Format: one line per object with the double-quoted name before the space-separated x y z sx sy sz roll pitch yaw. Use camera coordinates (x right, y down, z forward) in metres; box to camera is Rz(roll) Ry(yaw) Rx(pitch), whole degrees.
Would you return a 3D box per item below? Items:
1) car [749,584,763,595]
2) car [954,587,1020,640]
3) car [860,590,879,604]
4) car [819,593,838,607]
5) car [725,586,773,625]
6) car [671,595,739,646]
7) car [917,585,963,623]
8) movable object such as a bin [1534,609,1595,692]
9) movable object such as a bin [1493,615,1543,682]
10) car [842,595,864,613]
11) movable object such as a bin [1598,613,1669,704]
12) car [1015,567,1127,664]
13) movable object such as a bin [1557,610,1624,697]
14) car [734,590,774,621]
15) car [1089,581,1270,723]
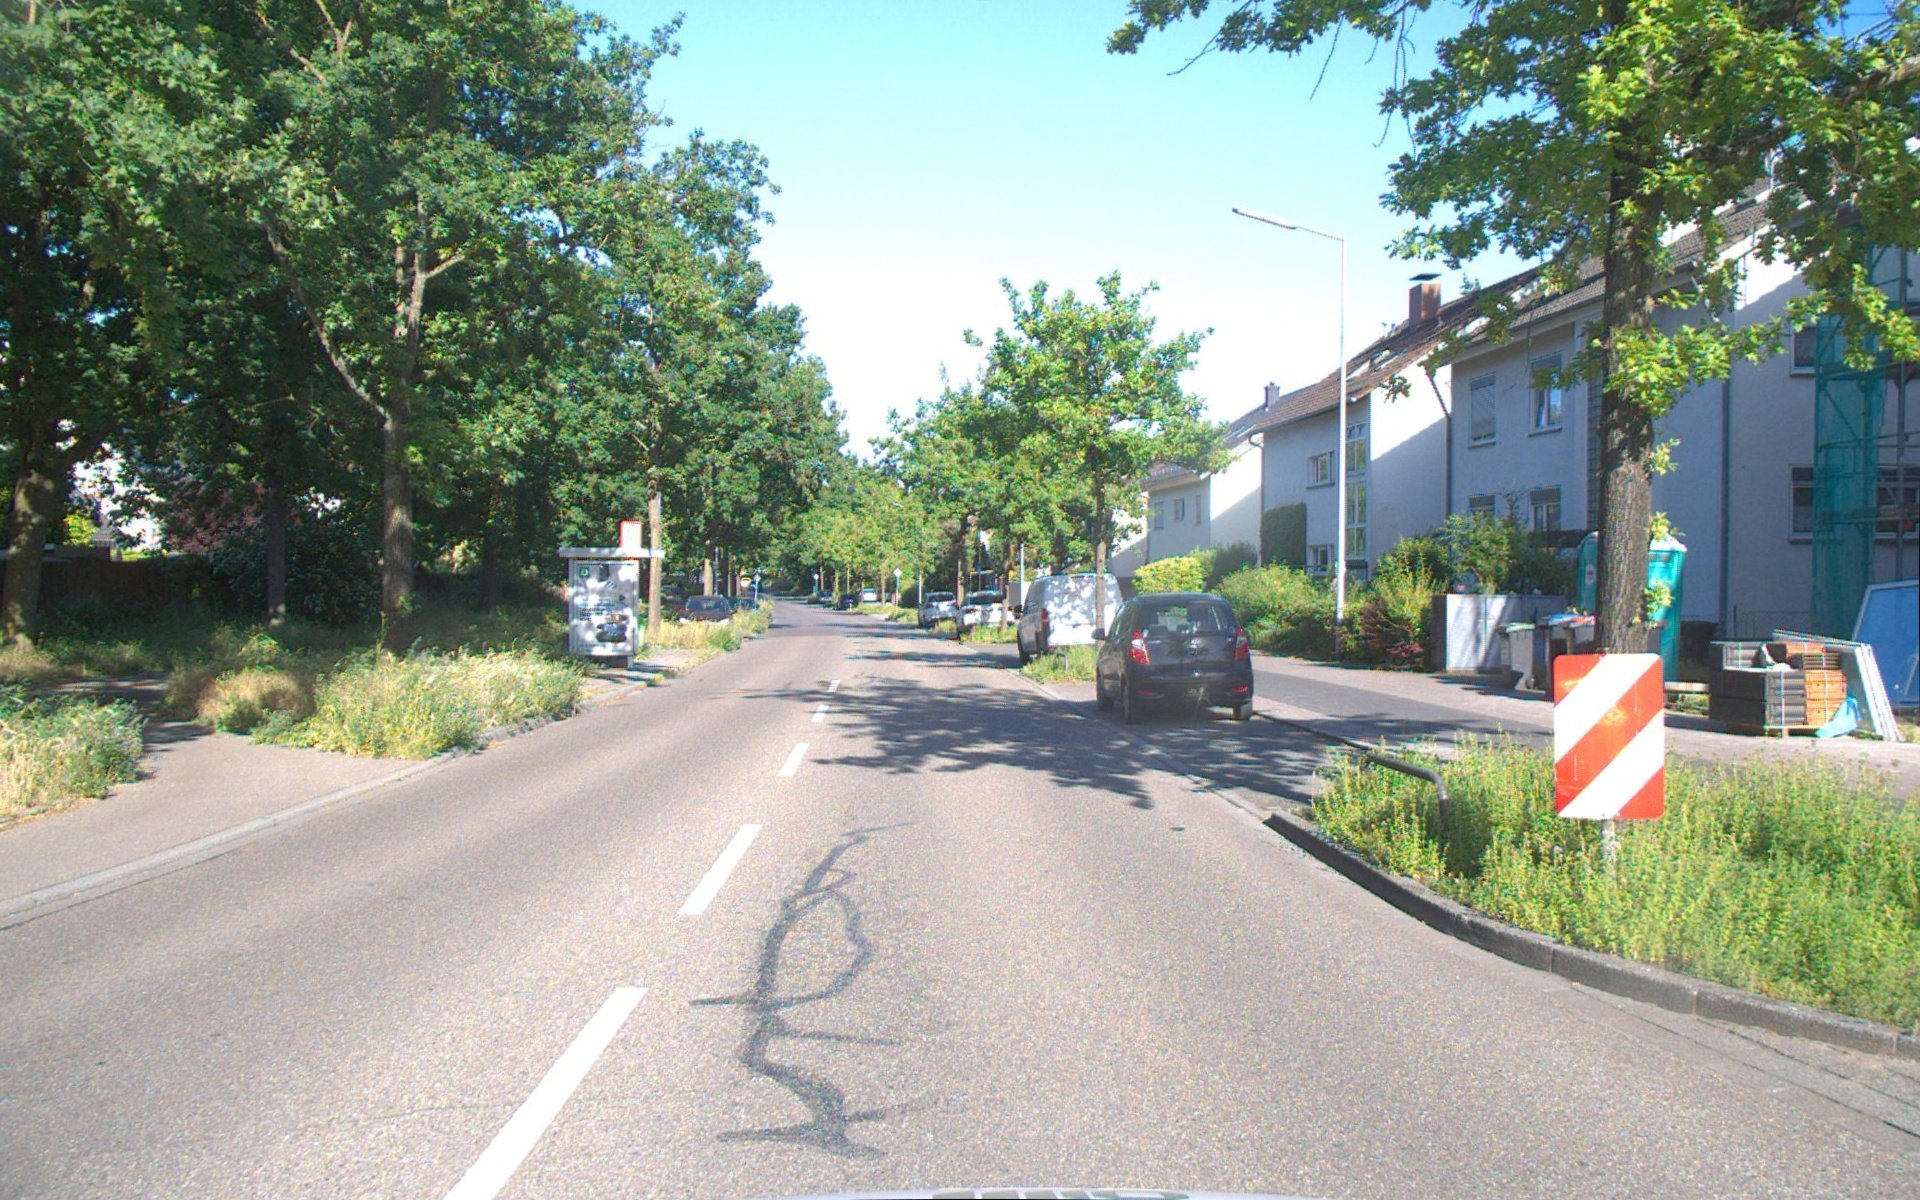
"car" -28.943 -1.494 234.347 1.896 1.479 3.995 0 0 -6
"car" 0.884 0.444 56.659 1.898 1.734 3.996 0 0 -5
"car" -9.537 -0.306 174.030 1.896 1.479 3.995 0 0 -6
"car" -14.024 0.023 176.119 1.896 1.479 3.995 0 0 -6
"car" -8.999 0.234 70.677 1.955 1.584 3.994 1 0 -7
"car" -7.873 0.602 51.409 1.898 1.505 3.995 0 0 -6
"car" -0.983 0.192 79.173 1.895 1.773 3.996 0 0 -5
"movable object such as a bin" 8.068 0.665 22.095 0.591 1.088 0.567 0 0 -3
"movable object such as a bin" 8.092 0.701 24.010 0.519 0.948 0.549 0 0 -3
"car" -9.590 0.329 148.082 1.895 1.569 3.996 0 0 -5
"movable object such as a bin" 8.207 0.701 20.167 0.591 1.088 0.646 0 0 -3
"car" 2.385 0.311 36.578 1.799 2.005 4.754 0 0 -5
"movable object such as a bin" 8.057 0.680 21.149 0.591 1.088 0.646 0 0 -3
"car" -10.247 0.250 82.576 1.761 1.505 3.517 0 0 -4
"car" 2.710 0.599 21.204 1.639 1.606 3.749 -1 0 -3
